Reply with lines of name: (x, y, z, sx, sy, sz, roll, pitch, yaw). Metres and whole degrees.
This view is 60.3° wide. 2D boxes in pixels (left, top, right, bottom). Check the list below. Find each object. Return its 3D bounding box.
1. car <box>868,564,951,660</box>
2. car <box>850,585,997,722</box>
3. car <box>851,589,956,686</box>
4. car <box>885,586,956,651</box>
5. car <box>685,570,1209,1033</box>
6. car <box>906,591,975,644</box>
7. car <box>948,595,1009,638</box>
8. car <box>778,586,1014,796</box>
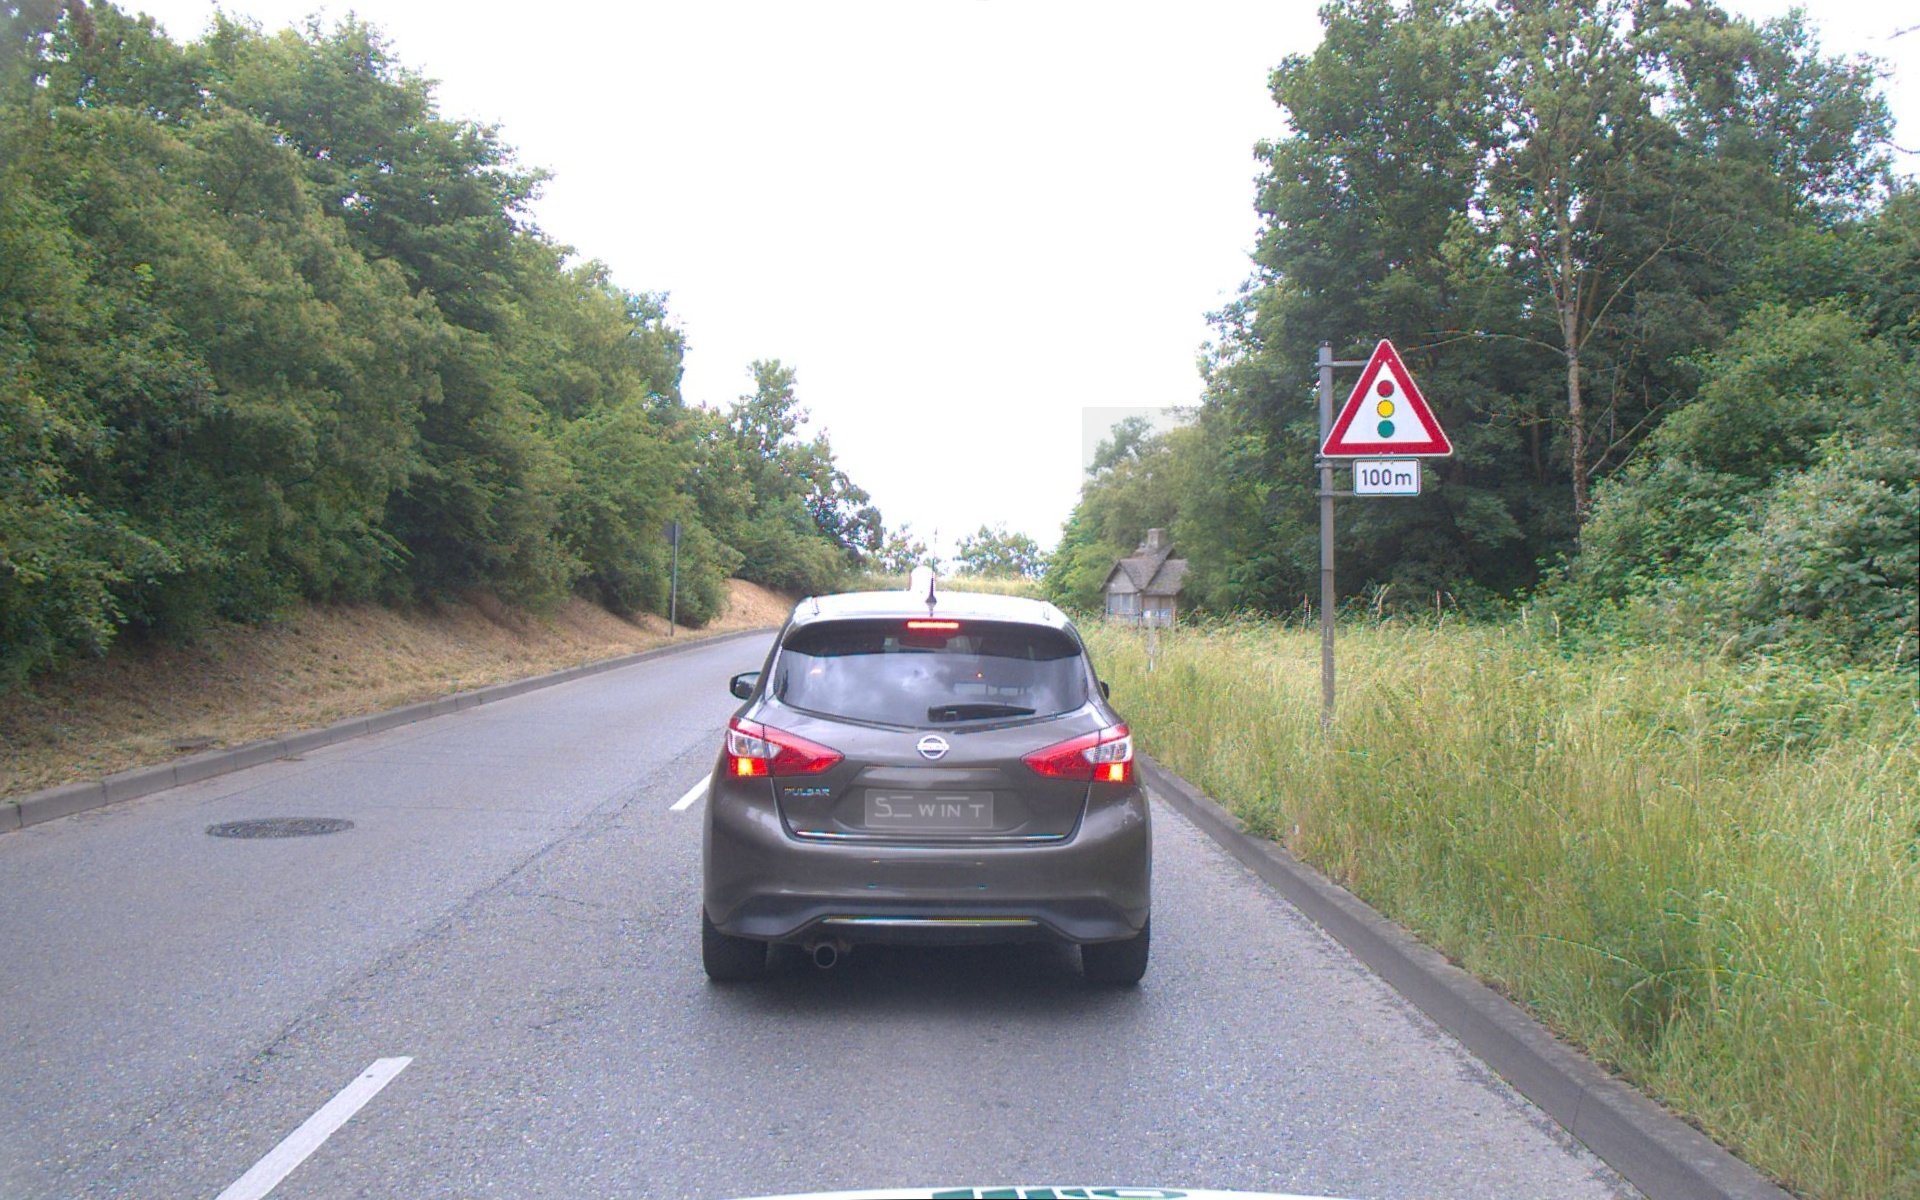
car: (-1.071, 0.244, 35.784, 1.701, 1.968, 3.542, 0, 0, -1)
car: (-0.437, 0.609, 20.953, 1.700, 1.583, 3.543, 0, 0, -1)
car: (-0.936, 0.600, 28.711, 1.700, 1.583, 3.543, 0, 0, -1)
car: (-1.021, 0.441, 41.472, 1.701, 1.553, 3.542, 0, 0, -2)
car: (-0.112, 0.692, 7.461, 1.793, 1.583, 3.497, 1, 0, -3)
car: (-0.556, 0.518, 50.377, 1.699, 1.553, 3.644, 0, 0, 6)
car: (0.722, 0.606, 61.657, 1.699, 1.553, 3.644, 0, 0, 10)
car: (-0.500, 0.682, 14.367, 1.793, 1.583, 3.624, 0, 0, -1)
